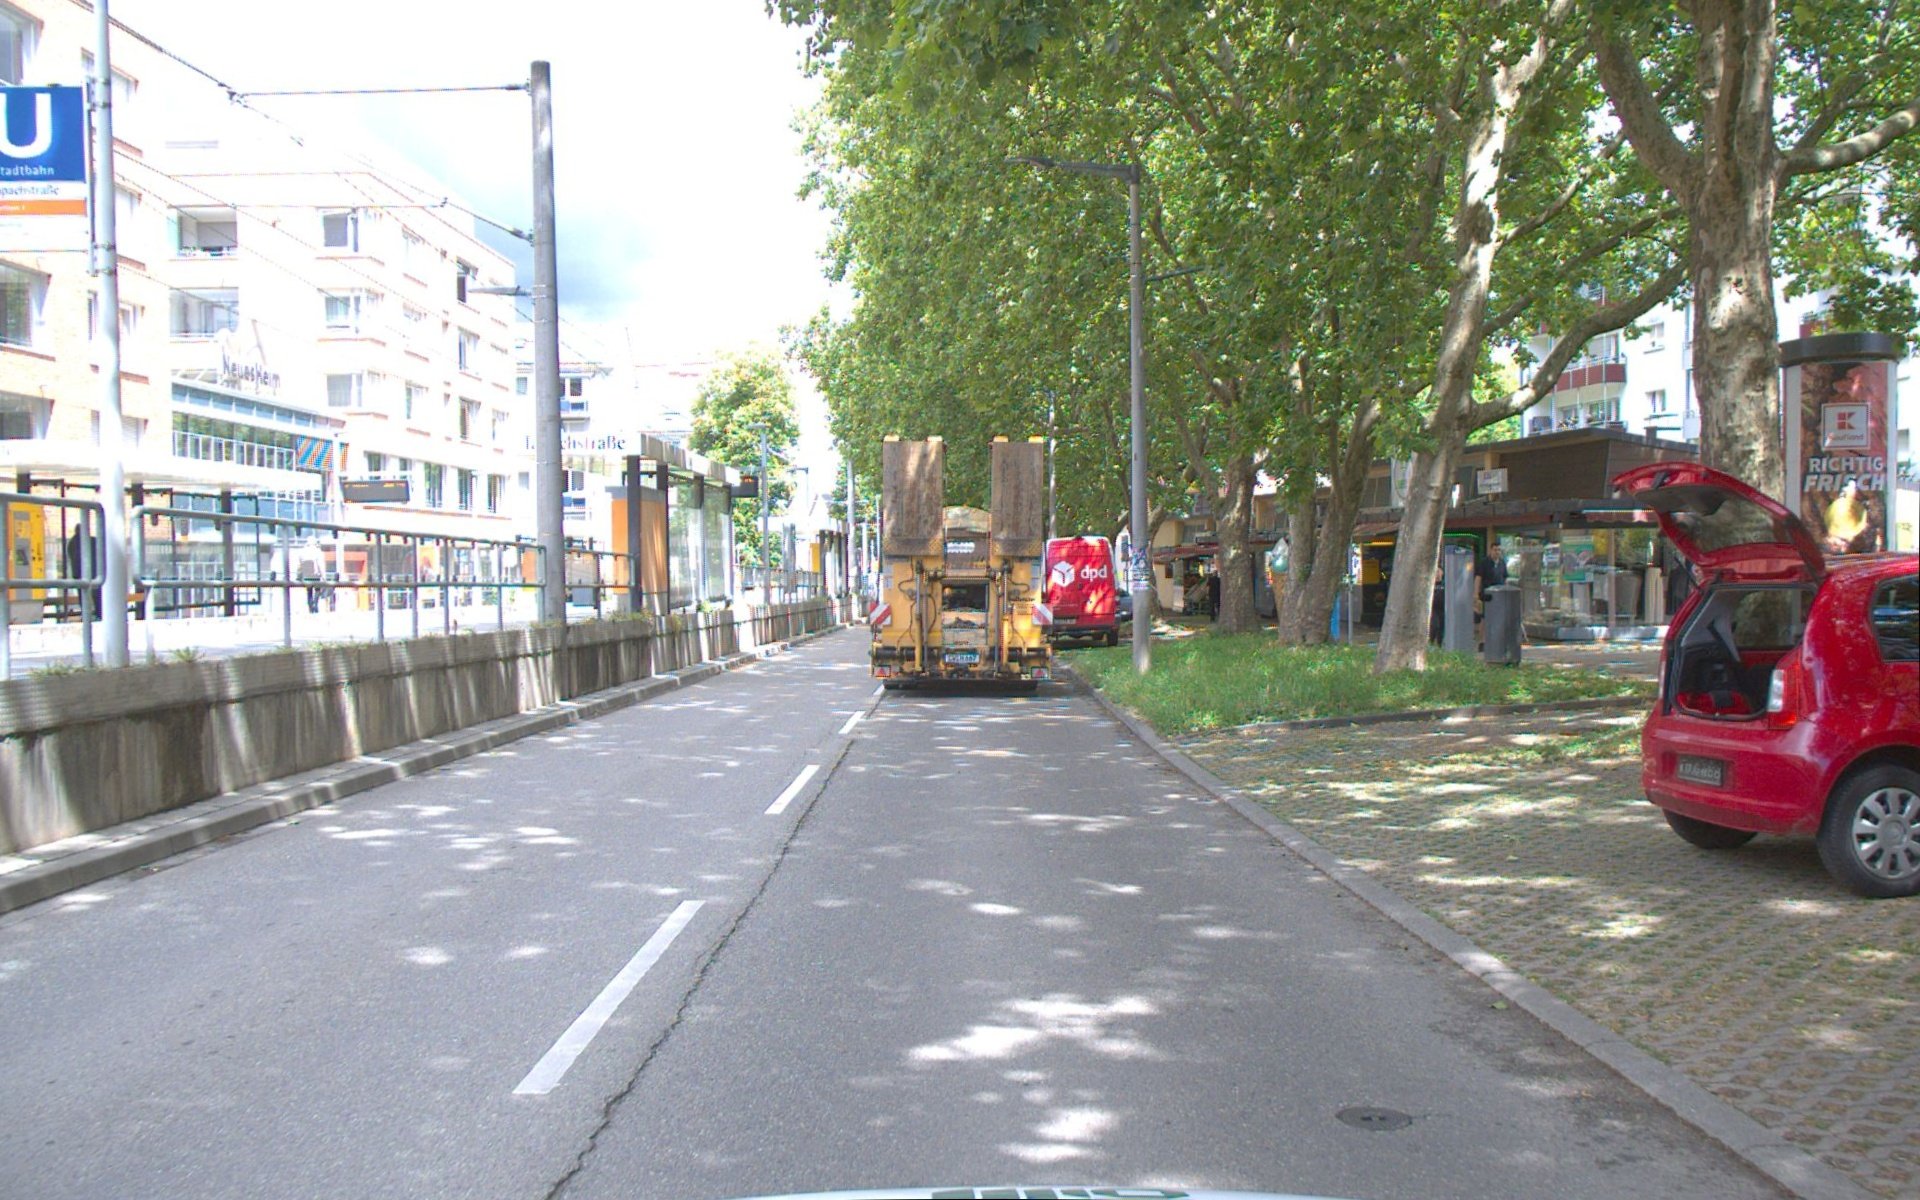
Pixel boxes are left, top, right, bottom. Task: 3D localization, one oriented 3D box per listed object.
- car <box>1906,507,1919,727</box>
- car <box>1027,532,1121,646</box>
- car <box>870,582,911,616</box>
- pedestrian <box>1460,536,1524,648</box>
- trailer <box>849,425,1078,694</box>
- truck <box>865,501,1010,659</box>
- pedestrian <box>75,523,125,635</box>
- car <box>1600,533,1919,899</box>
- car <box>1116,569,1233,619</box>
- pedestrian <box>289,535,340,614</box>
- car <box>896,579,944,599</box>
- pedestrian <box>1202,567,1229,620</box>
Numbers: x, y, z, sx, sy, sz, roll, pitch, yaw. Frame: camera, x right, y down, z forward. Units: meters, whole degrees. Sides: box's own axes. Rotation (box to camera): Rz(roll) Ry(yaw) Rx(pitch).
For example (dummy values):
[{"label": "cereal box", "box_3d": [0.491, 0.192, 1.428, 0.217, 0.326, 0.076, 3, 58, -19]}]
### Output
[{"label": "car", "box_3d": [4.709, 0.420, 3.831, 3.946, 1.639, 1.731, -4, 0, 2]}, {"label": "car", "box_3d": [2.825, -0.264, 42.412, 1.865, 2.626, 6.833, -2, 0, 0]}, {"label": "car", "box_3d": [-2.981, -0.027, 71.531, 1.697, 1.420, 3.750, 1, 0, -1]}, {"label": "pedestrian", "box_3d": [9.463, -0.137, 29.444, 0.728, 1.916, 0.941, -3, -1, -1]}, {"label": "trailer", "box_3d": [-0.203, -0.555, 27.861, 3.091, 3.615, 11.090, 0, 0, -3]}, {"label": "truck", "box_3d": [-0.604, -0.406, 37.319, 2.929, 3.190, 7.884, 0, 0, -2]}, {"label": "pedestrian", "box_3d": [-14.009, -0.334, 26.944, 0.523, 1.794, 0.528, -1, 0, -3]}, {"label": "car", "box_3d": [5.162, 0.415, 8.115, 3.340, 1.541, 1.609, -4, 0, -4]}, {"label": "car", "box_3d": [7.513, -0.216, 58.032, 3.756, 1.589, 1.617, -2, 0, -7]}, {"label": "pedestrian", "box_3d": [-13.679, -0.537, 35.070, 0.736, 1.657, 0.816, 0, 0, 0]}, {"label": "car", "box_3d": [-4.426, -1.228, 181.974, 5.003, 2.139, 1.969, -1, 0, -14]}, {"label": "pedestrian", "box_3d": [8.587, -0.219, 55.601, 0.744, 1.755, 0.658, -2, 0, -4]}]
